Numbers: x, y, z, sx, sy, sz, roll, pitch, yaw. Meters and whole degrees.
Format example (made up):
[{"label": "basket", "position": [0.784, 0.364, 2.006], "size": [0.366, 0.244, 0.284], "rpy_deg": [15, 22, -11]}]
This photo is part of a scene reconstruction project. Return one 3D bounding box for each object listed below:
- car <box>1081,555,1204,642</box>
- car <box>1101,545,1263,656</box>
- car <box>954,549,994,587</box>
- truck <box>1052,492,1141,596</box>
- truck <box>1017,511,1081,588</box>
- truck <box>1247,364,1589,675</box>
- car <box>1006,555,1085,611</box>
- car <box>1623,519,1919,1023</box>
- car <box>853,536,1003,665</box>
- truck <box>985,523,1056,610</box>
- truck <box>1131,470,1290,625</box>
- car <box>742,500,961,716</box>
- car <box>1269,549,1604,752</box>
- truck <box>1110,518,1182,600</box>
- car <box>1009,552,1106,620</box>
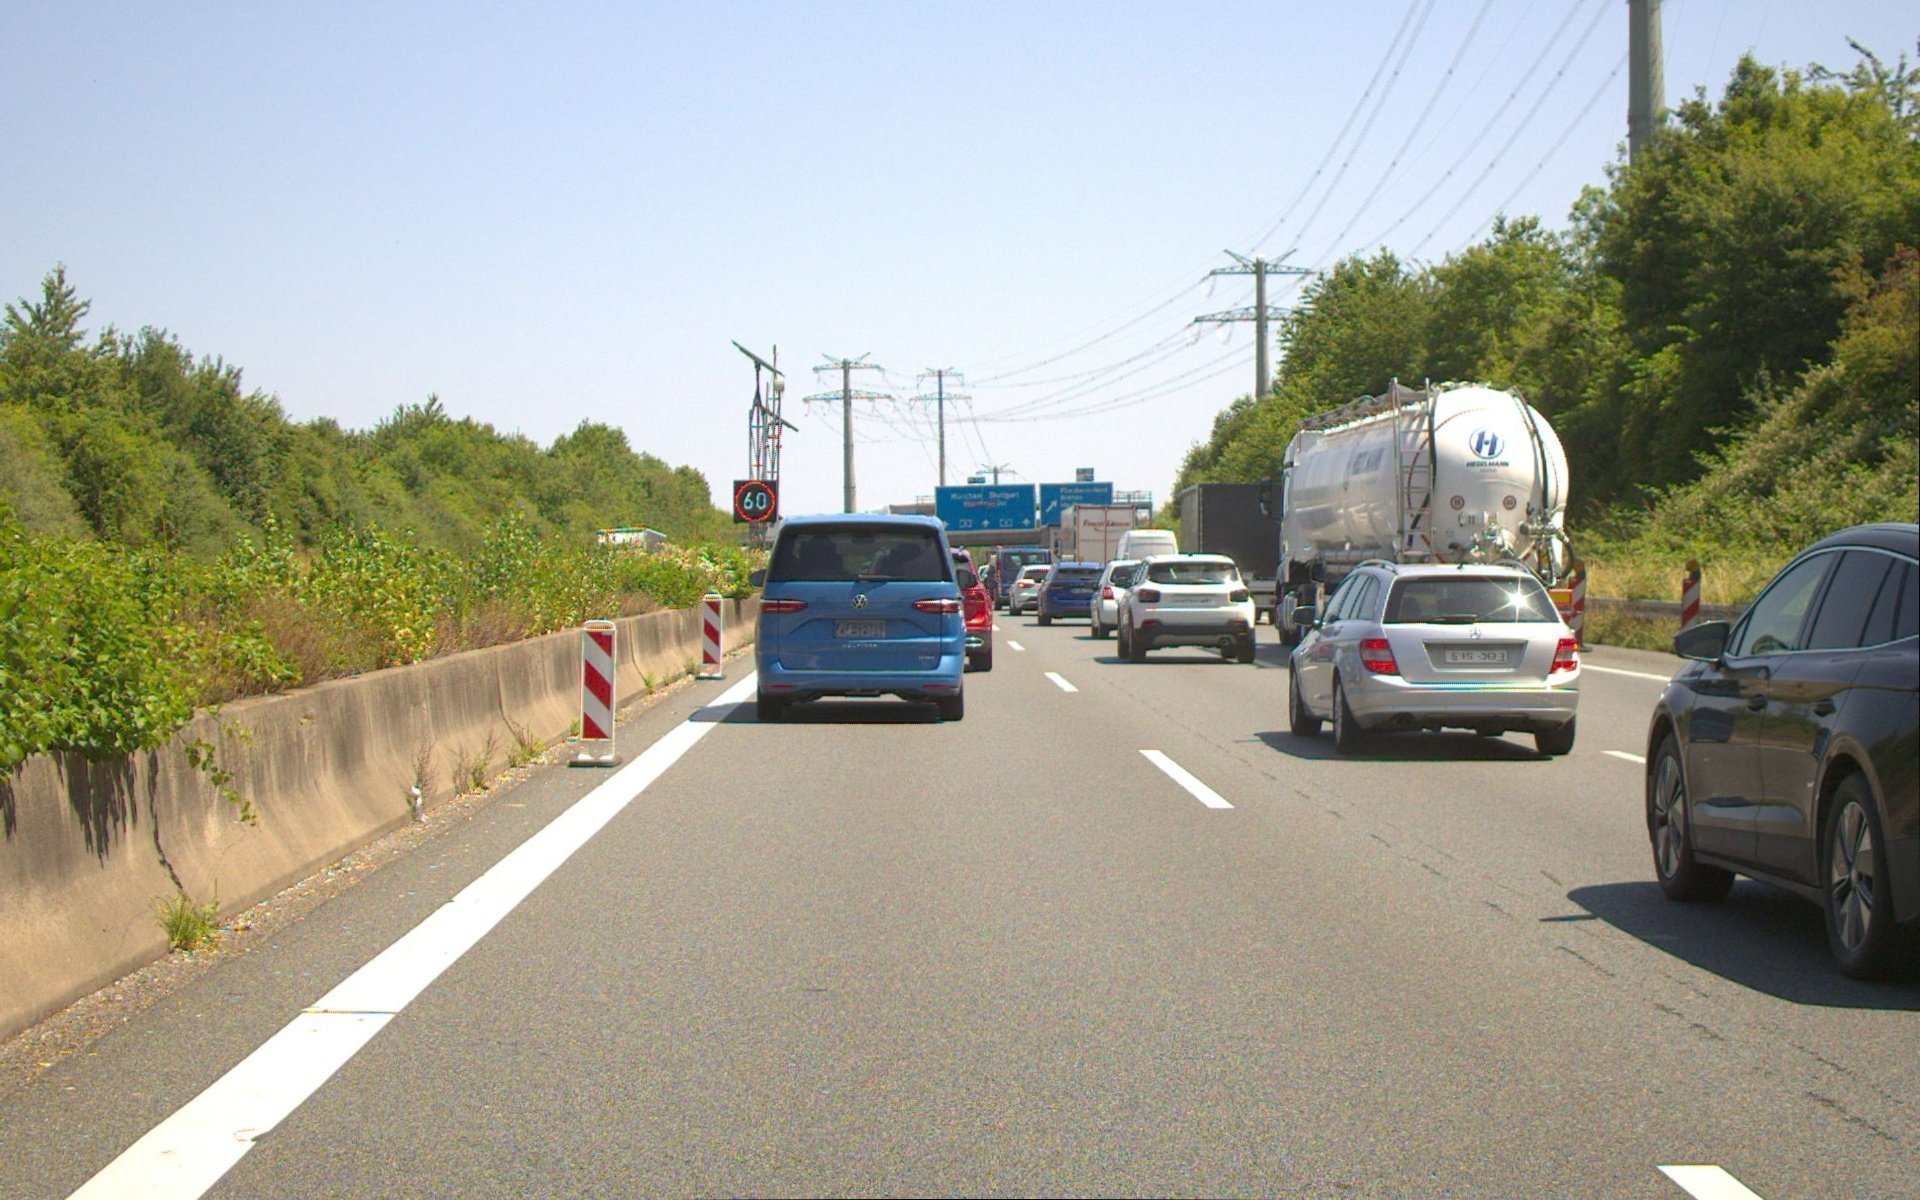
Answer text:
[{"label": "car", "position": [3.434, -0.046, 65.446], "size": [1.908, 1.564, 4.384], "rpy_deg": [1, 1, -2]}, {"label": "car", "position": [3.169, -0.013, 49.712], "size": [1.908, 1.503, 3.922], "rpy_deg": [1, 1, -2]}, {"label": "car", "position": [0.752, -1.714, 185.678], "size": [1.993, 2.007, 4.000], "rpy_deg": [1, 1, -2]}, {"label": "truck", "position": [5.813, -2.384, 148.661], "size": [2.938, 4.276, 12.553], "rpy_deg": [1, 1, -2]}, {"label": "truck", "position": [5.081, -2.896, 198.413], "size": [2.938, 4.276, 12.553], "rpy_deg": [1, 1, -2]}, {"label": "truck", "position": [6.723, -1.146, 53.531], "size": [2.644, 4.058, 16.442], "rpy_deg": [1, 1, -2]}, {"label": "car", "position": [2.394, -0.482, 96.905], "size": [1.908, 1.511, 4.384], "rpy_deg": [1, 1, -2]}, {"label": "car", "position": [3.932, 0.518, 13.144], "size": [1.828, 1.609, 4.431], "rpy_deg": [0, 1, -1]}, {"label": "car", "position": [-0.470, -0.016, 45.881], "size": [1.908, 1.625, 4.384], "rpy_deg": [0, 1, -2]}, {"label": "truck", "position": [1.913, -1.079, 110.772], "size": [1.993, 2.714, 5.680], "rpy_deg": [1, 1, -2]}, {"label": "truck", "position": [6.084, -1.273, 85.554], "size": [2.644, 3.526, 12.553], "rpy_deg": [1, 1, -2]}, {"label": "car", "position": [-1.092, 0.049, 32.460], "size": [1.870, 1.873, 4.384], "rpy_deg": [1, 1, -4]}, {"label": "car", "position": [3.623, 0.343, 26.888], "size": [1.821, 1.432, 4.384], "rpy_deg": [1, 1, -2]}, {"label": "truck", "position": [6.377, -1.401, 118.591], "size": [1.993, 2.714, 5.680], "rpy_deg": [1, 1, -2]}, {"label": "car", "position": [2.230, -0.340, 79.734], "size": [1.908, 1.511, 4.384], "rpy_deg": [1, 1, -2]}]
